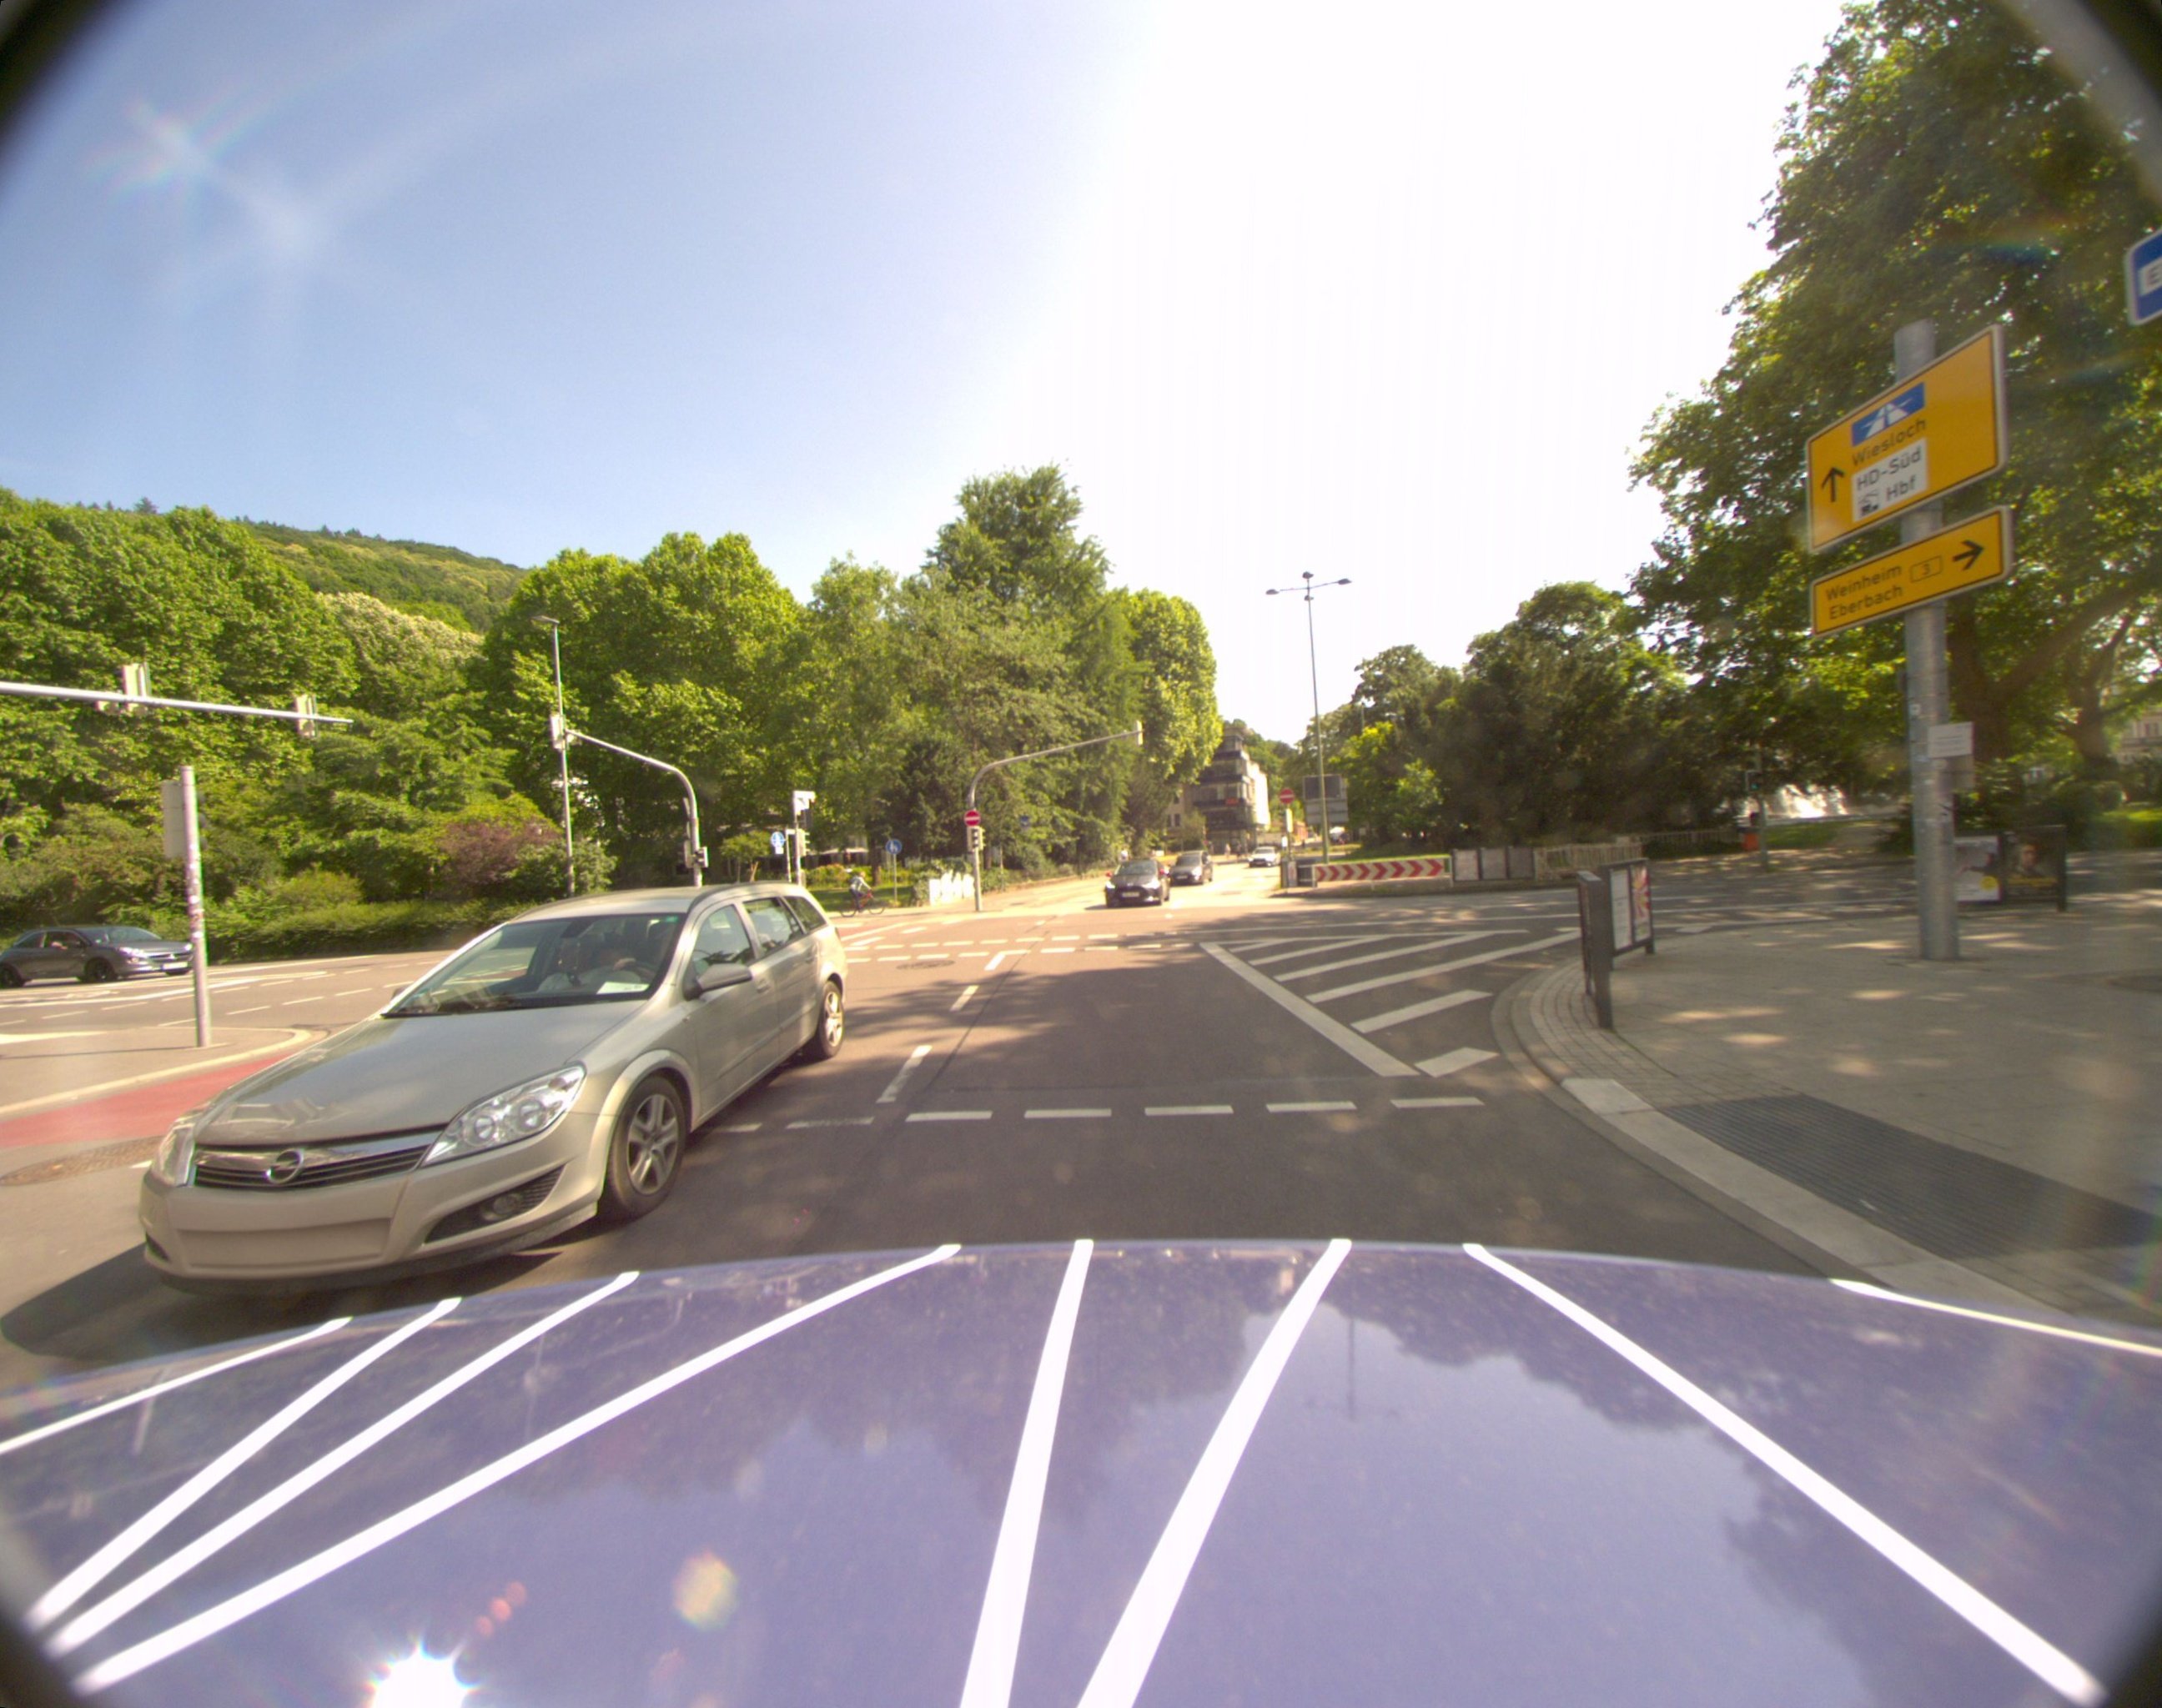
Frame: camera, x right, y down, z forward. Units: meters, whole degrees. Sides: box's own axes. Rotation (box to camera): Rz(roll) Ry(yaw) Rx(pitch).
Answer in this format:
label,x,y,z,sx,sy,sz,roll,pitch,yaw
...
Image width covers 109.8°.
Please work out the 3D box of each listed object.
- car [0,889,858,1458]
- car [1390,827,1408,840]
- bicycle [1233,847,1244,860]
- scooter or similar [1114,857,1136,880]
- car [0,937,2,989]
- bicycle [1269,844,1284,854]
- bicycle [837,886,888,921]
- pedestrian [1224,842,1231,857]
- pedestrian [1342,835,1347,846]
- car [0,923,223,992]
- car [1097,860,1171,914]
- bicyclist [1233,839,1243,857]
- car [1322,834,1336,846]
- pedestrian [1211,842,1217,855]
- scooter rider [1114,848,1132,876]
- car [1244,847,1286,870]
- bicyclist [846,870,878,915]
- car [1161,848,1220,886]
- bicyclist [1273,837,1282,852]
label,x,y,z,sx,sy,sz,roll,pitch,yaw
car,-2.819,1.105,4.603,1.712,1.513,4.406,-4,0,-2
car,43.717,-2.840,104.394,1.848,1.652,4.004,-3,0,18
bicycle,15.426,-0.067,74.497,0.758,1.114,2.004,-2,2,20
scooter or similar,2.699,0.893,46.464,0.819,1.291,1.698,-2,2,22
car,-30.355,2.942,18.988,4.094,1.355,1.860,-3,-1,0
bicycle,21.500,-0.570,83.558,0.709,1.048,2.211,-3,1,38
bicycle,-8.048,1.800,27.970,1.679,1.114,0.782,-3,1,-20
pedestrian,16.978,-0.537,88.029,0.710,1.663,0.535,-3,1,18
pedestrian,41.227,-2.104,118.971,0.601,1.695,0.605,-3,1,28
car,-24.725,2.580,19.132,4.094,1.355,1.860,-3,-1,1
car,1.814,1.013,24.748,1.809,1.443,3.957,-3,0,12
bicyclist,15.367,-0.587,74.403,0.765,1.627,0.944,-3,2,21
car,38.112,-2.183,116.757,1.848,1.777,4.005,-3,0,20
pedestrian,18.311,-0.737,104.682,0.700,1.695,0.603,-3,0,19
scooter rider,2.554,0.476,46.171,0.822,1.662,0.710,-2,2,23
car,13.409,0.283,55.178,1.938,1.421,4.556,-3,0,26
bicyclist,-8.080,1.401,28.048,0.944,1.566,0.866,-4,2,-24
car,5.398,0.603,37.049,1.887,1.674,4.148,-1,0,21
bicyclist,21.606,-1.035,83.529,0.709,1.603,0.733,-3,1,38
